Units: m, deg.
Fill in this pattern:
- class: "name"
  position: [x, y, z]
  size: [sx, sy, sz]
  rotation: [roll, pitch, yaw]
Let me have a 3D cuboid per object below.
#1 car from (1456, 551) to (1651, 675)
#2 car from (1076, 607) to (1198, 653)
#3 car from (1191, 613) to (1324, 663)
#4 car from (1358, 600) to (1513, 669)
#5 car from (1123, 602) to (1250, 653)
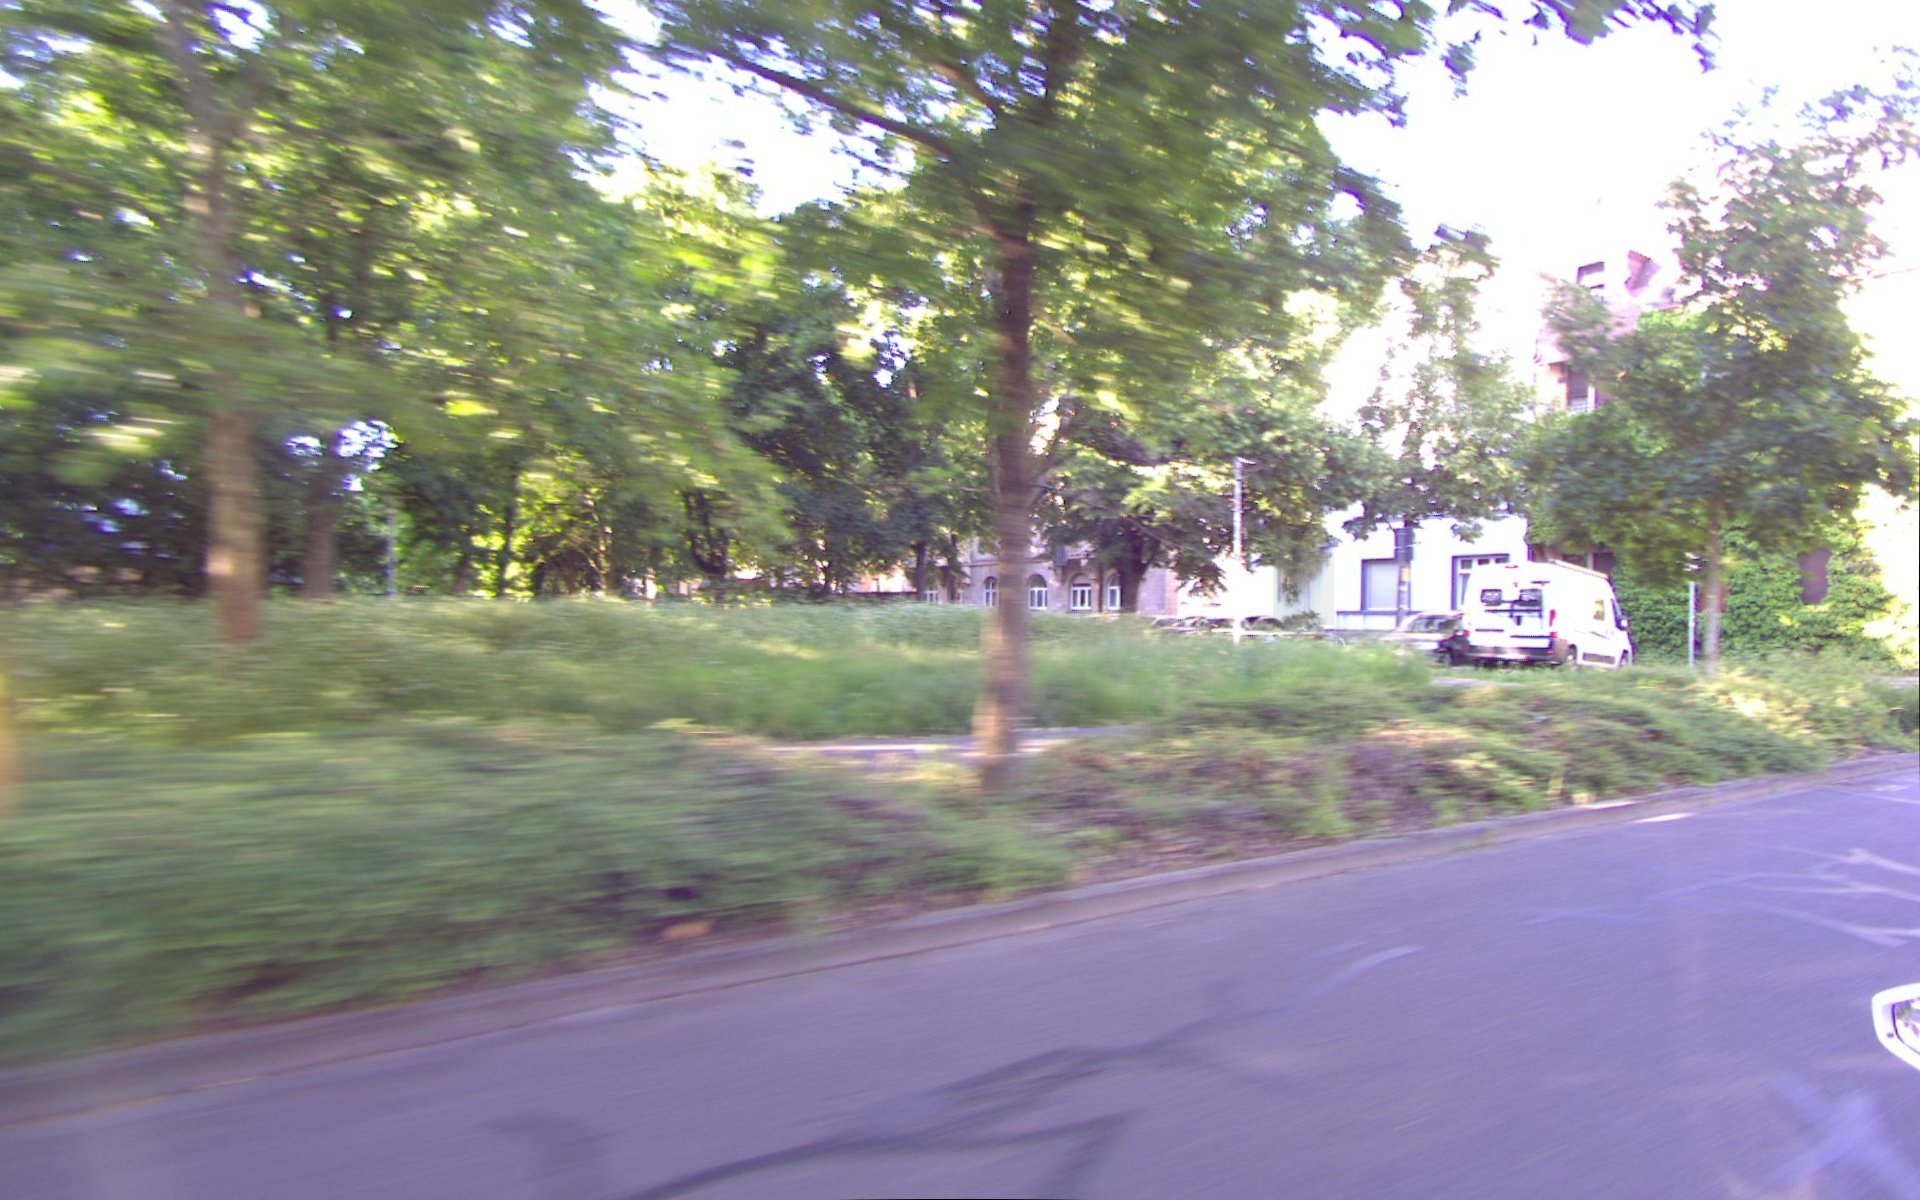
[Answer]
- class: "car"
  position: [14.291, 0.325, 24.033]
  size: [5.584, 2.649, 2.213]
  rotation: [2, 0, -39]
- class: "car"
  position: [5.912, 0.980, 33.395]
  size: [3.848, 1.396, 1.956]
  rotation: [2, 0, -39]
- class: "car"
  position: [8.865, 1.108, 29.854]
  size: [3.848, 1.360, 1.956]
  rotation: [2, 0, -39]
- class: "car"
  position: [12.260, 0.865, 25.823]
  size: [4.263, 1.596, 1.956]
  rotation: [2, 0, -39]
- class: "car"
  position: [7.201, 0.853, 31.757]
  size: [3.848, 1.461, 1.956]
  rotation: [1, 0, -39]
